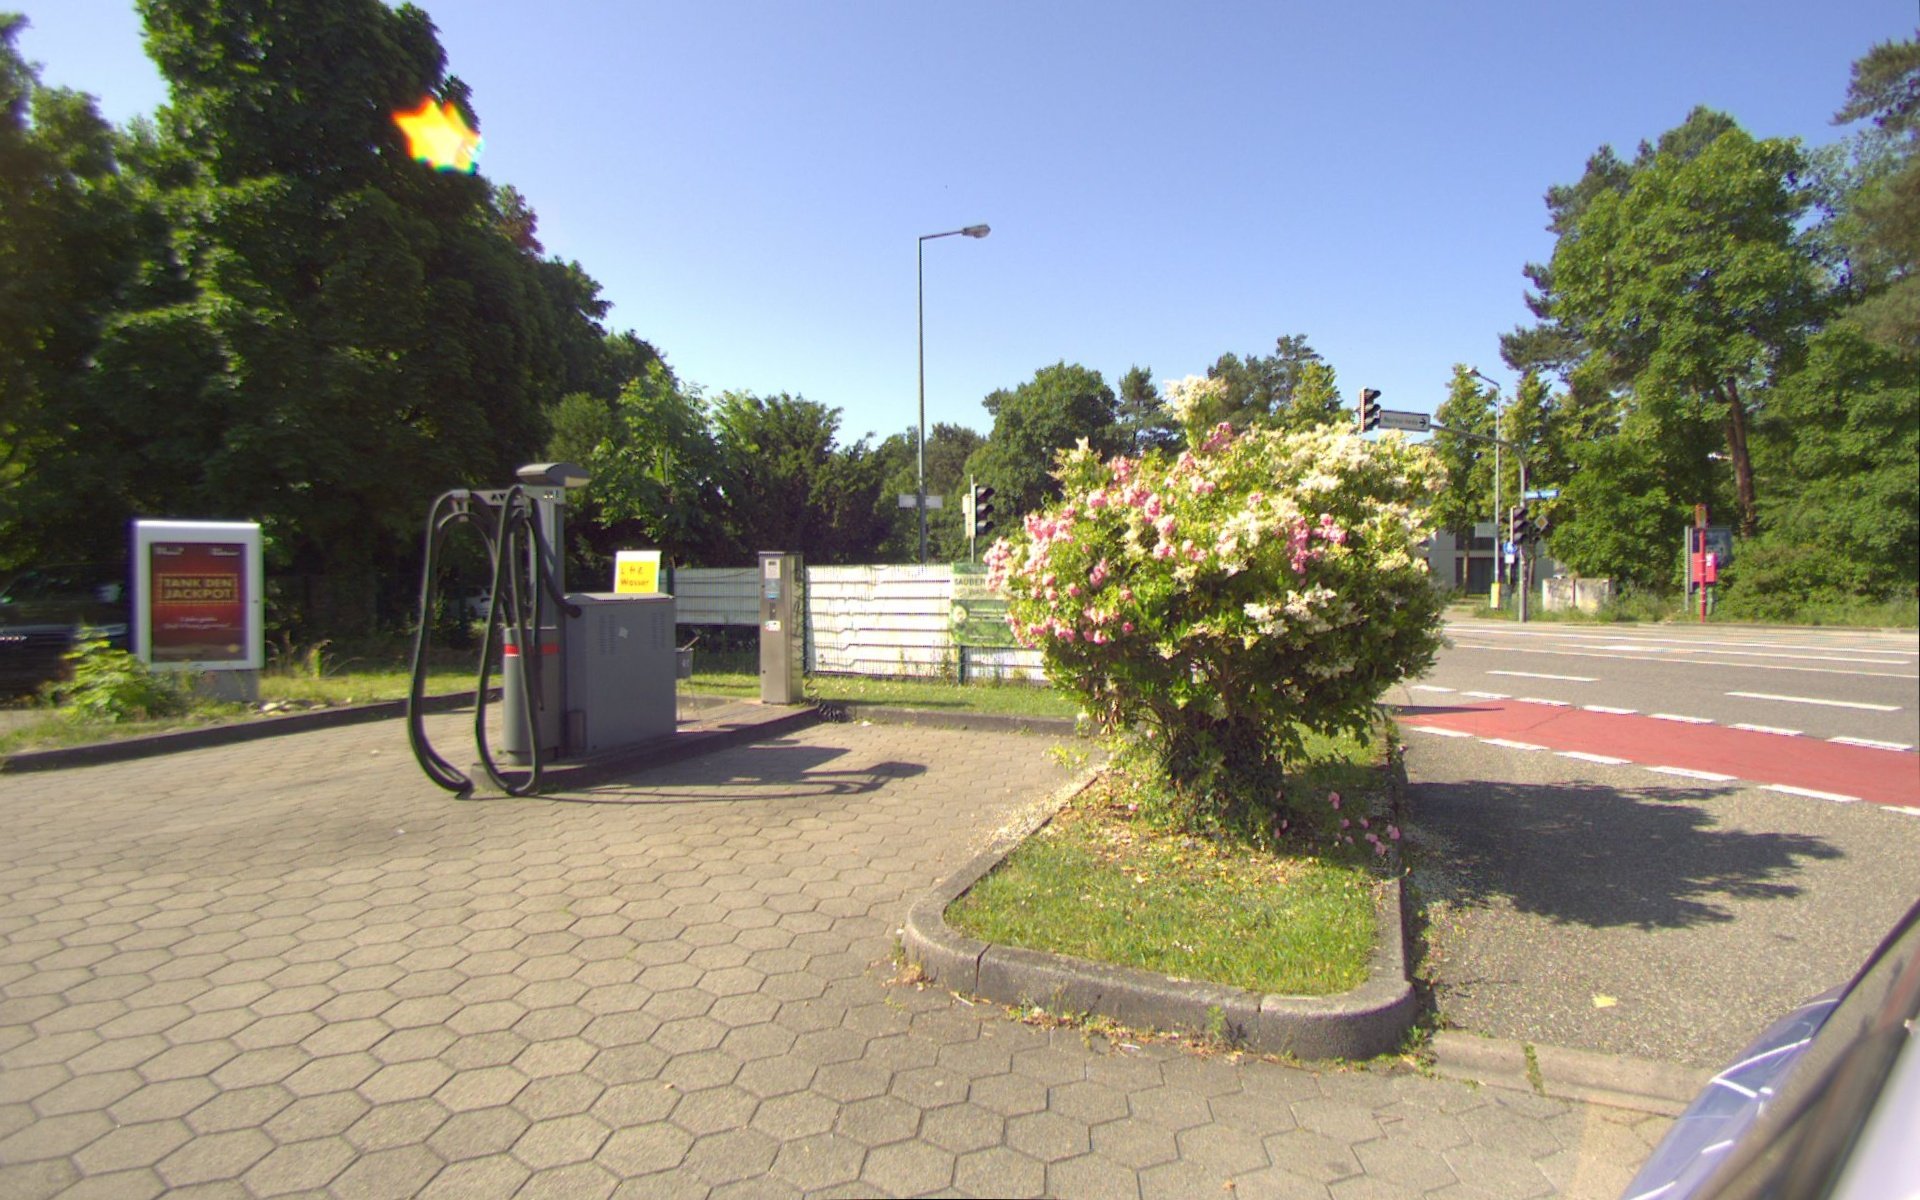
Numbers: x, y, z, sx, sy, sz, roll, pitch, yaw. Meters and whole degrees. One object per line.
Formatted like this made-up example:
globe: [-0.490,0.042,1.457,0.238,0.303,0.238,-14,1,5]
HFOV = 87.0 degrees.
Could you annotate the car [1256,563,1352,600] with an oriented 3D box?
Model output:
car: [17.514,-0.942,51.580,4.564,1.800,1.856,0,1,-24]

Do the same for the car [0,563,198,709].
car: [-10.881,0.353,12.455,1.649,1.530,3.946,-1,1,-26]
